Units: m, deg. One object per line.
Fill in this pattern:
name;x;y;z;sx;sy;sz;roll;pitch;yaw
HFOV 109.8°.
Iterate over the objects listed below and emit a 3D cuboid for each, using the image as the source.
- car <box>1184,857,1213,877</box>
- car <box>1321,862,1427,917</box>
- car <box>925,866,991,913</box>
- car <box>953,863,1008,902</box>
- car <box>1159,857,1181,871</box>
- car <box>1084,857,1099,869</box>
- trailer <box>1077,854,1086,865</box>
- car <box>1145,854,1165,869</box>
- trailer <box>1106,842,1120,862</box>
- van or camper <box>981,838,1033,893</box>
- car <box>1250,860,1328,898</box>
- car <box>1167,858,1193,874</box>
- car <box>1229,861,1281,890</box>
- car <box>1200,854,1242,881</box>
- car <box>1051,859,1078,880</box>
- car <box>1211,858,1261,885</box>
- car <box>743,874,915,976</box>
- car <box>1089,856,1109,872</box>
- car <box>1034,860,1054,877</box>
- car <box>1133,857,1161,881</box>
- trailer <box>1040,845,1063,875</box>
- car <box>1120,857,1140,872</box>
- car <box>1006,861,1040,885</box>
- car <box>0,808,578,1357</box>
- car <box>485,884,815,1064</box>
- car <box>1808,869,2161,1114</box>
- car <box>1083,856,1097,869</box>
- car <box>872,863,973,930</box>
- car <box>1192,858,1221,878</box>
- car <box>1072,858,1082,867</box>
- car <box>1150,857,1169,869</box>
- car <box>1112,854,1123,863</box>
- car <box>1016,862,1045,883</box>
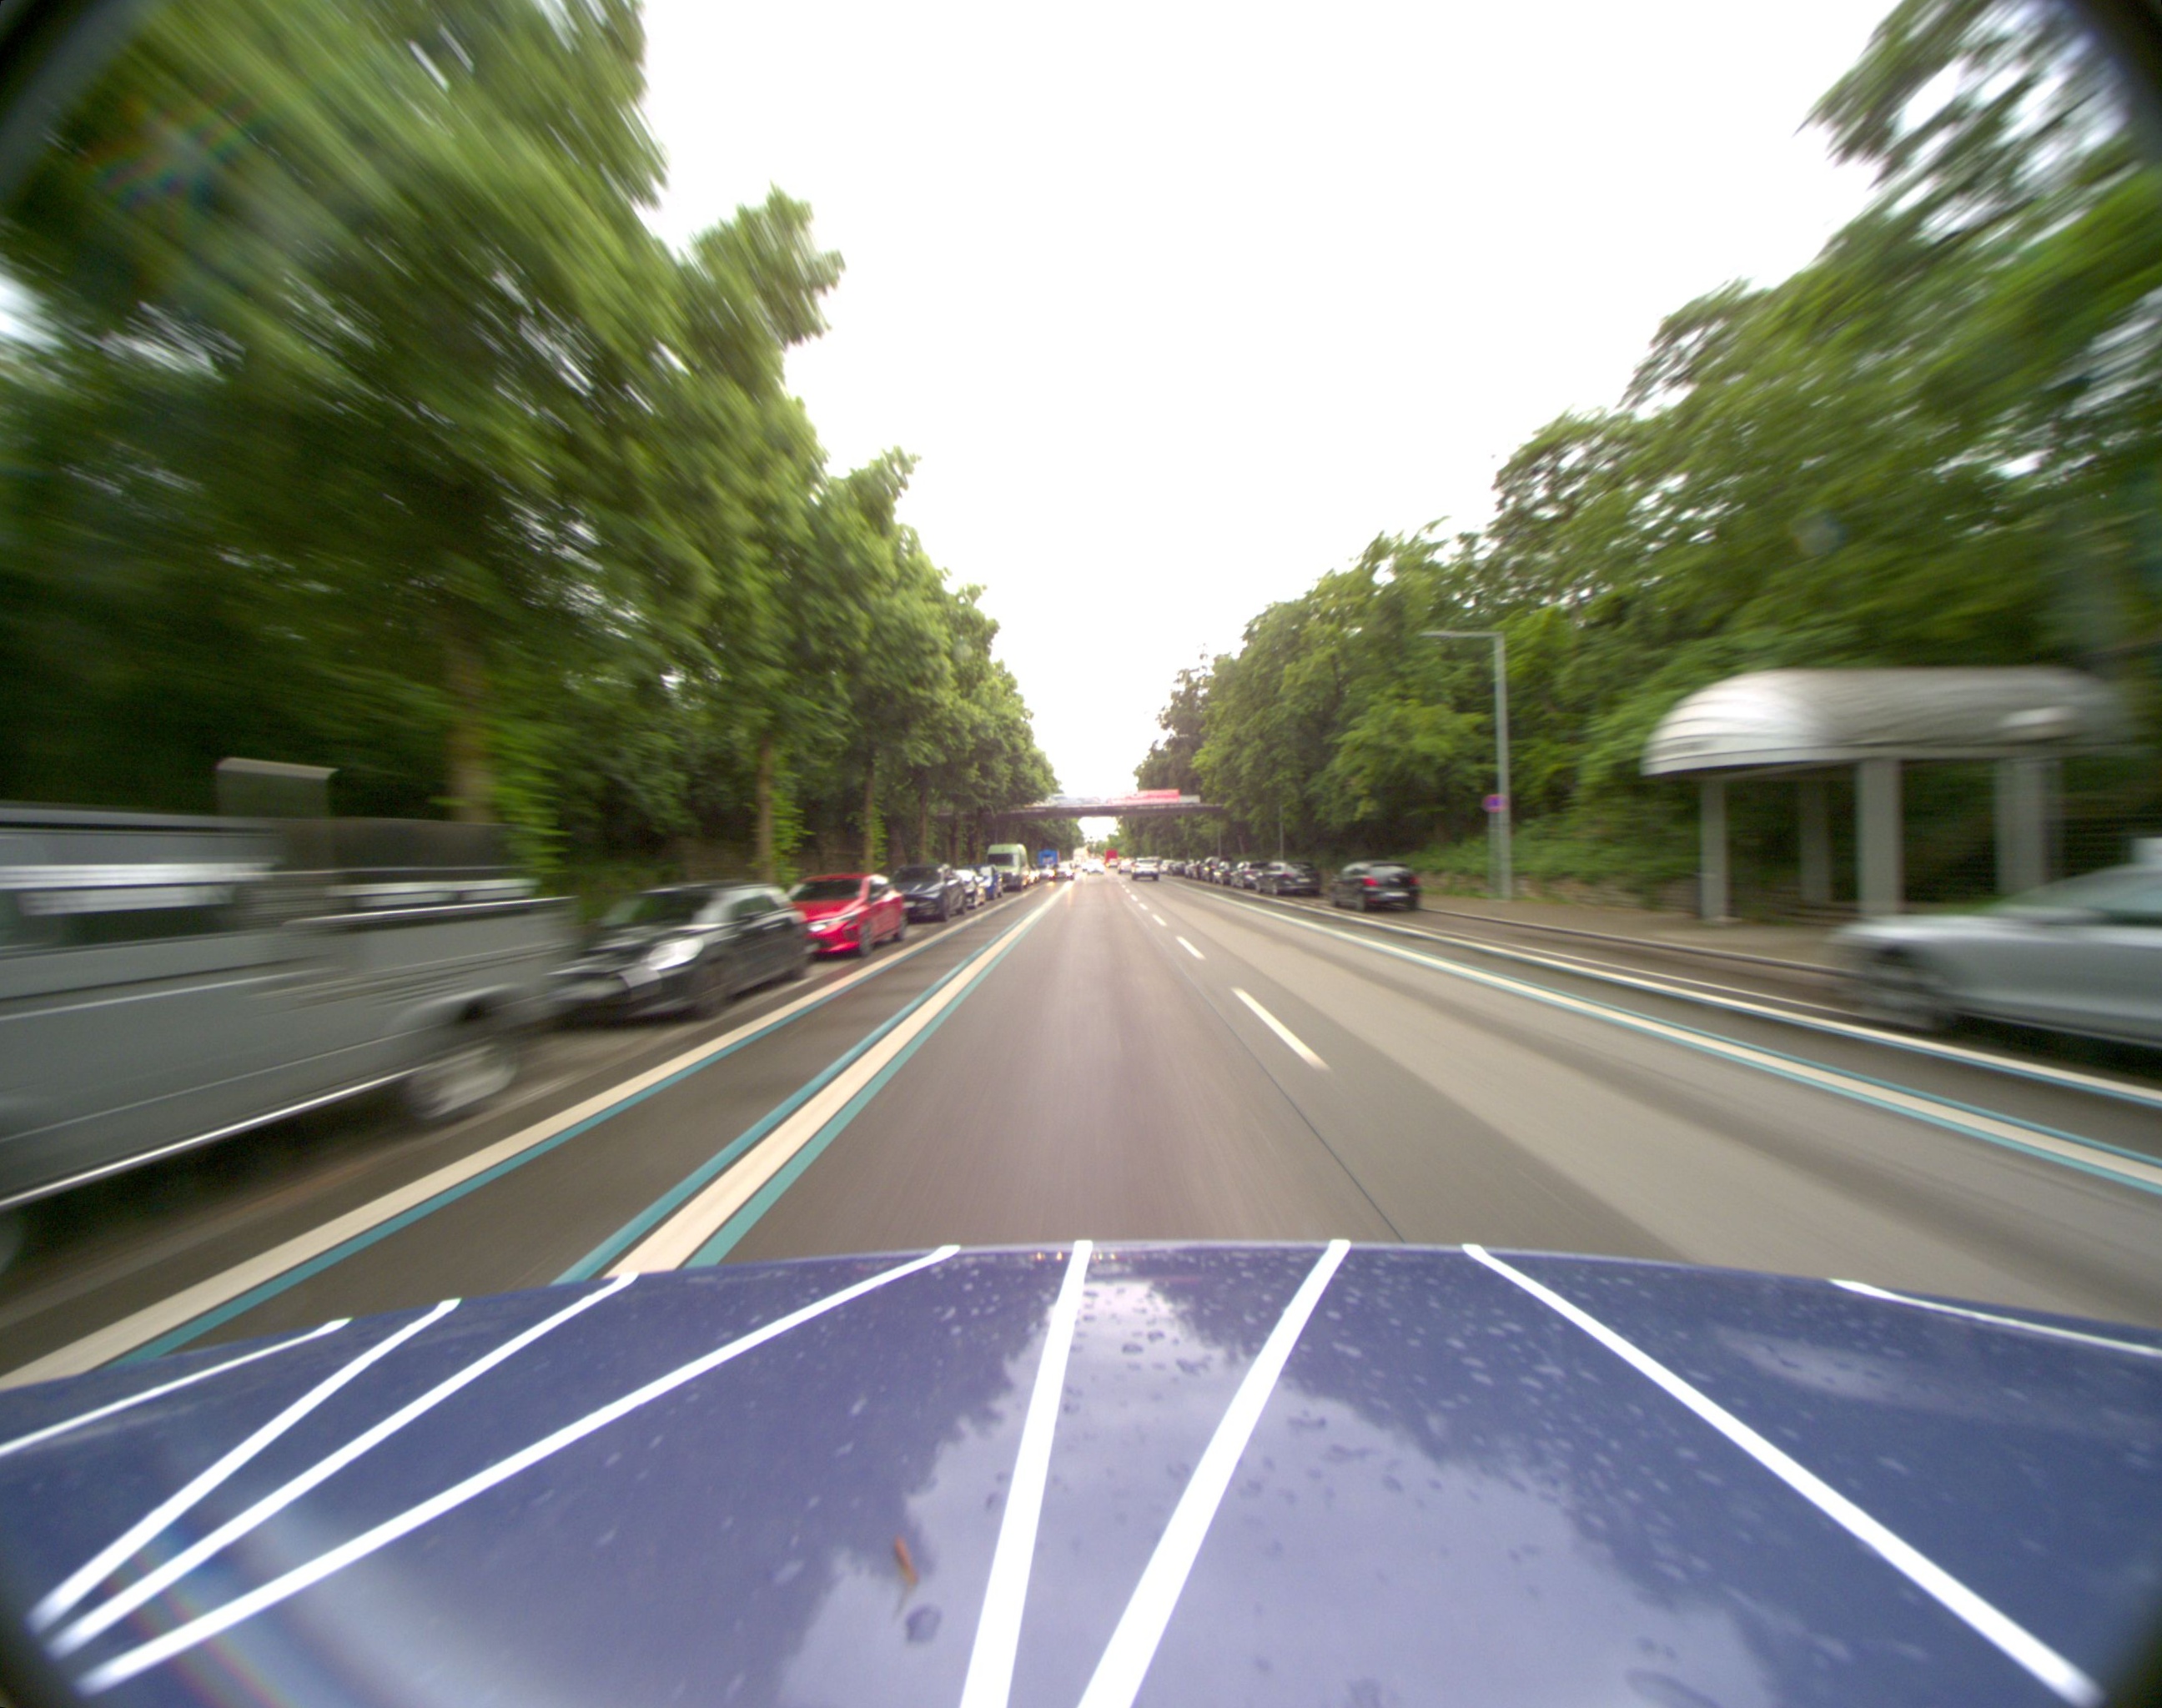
car;9.531;1.029;61.661;1.692;1.537;4.233;-1;-1;0
car;8.732;1.002;23.004;1.675;1.449;3.993;-1;0;0
car;-4.294;1.196;27.101;1.690;1.447;4.145;-3;0;-2
car;-4.277;1.178;32.735;1.690;1.504;3.835;-3;0;1
car;9.649;1.071;82.640;1.794;1.473;3.982;0;0;-1
car;1.427;1.190;101.573;1.998;1.629;4.000;-1;0;2
trailer;0.080;1.440;196.796;1.988;2.550;4.000;-2;0;-1
car;10.559;1.034;108.572;1.979;1.993;5.017;-2;-1;-3
trailer;7.290;-0.421;175.394;2.694;4.234;12.768;1;0;0
van or camper;-4.018;0.615;42.382;2.047;2.713;6.900;-3;0;0
car;8.752;1.018;32.365;1.961;1.454;4.756;-1;0;-1
car;9.403;1.108;72.272;1.836;1.468;4.040;-1;-1;-2
car;9.075;1.087;39.906;1.788;1.415;4.296;-1;-1;1
car;9.483;0.883;51.919;1.995;1.731;4.838;-1;-1;0
car;-1.269;1.182;59.466;1.822;1.499;4.140;-1;0;2
car;9.330;1.051;46.175;1.988;1.464;4.898;-2;-1;0
car;-4.431;1.171;14.048;1.690;1.444;4.165;-3;0;0
car;1.949;1.104;82.185;1.998;1.588;4.001;-2;0;1
car;-3.230;1.236;67.142;1.588;1.345;3.862;-3;0;-1
car;4.787;1.063;55.496;1.800;1.642;4.129;0;0;2
trailer;-2.864;0.553;74.001;1.957;2.742;4.007;-2;0;1
car;5.294;1.129;82.724;1.926;1.551;4.621;0;0;1
car;-3.792;1.197;50.009;1.690;1.408;4.101;-2;0;2
car;-4.923;0.865;3.528;1.931;2.010;4.664;-2;0;1
car;-4.600;1.174;8.823;1.610;1.444;3.747;-3;0;0
car;7.947;0.905;4.856;2.082;1.473;4.673;-2;0;-1
car;1.211;1.134;102.196;1.850;1.718;3.731;-2;0;1
car;-4.345;1.103;21.530;1.760;1.580;4.499;-3;0;1
car;9.424;1.077;57.287;1.613;1.430;3.844;-1;-1;1
car;-0.695;1.514;129.987;1.702;1.445;4.097;-2;0;0
car;10.199;1.171;99.559;2.015;1.596;4.780;-1;-1;0
car;6.783;0.890;142.475;1.838;1.656;4.180;0;0;1
car;-3.640;1.302;55.300;1.690;1.408;4.198;-2;0;2
